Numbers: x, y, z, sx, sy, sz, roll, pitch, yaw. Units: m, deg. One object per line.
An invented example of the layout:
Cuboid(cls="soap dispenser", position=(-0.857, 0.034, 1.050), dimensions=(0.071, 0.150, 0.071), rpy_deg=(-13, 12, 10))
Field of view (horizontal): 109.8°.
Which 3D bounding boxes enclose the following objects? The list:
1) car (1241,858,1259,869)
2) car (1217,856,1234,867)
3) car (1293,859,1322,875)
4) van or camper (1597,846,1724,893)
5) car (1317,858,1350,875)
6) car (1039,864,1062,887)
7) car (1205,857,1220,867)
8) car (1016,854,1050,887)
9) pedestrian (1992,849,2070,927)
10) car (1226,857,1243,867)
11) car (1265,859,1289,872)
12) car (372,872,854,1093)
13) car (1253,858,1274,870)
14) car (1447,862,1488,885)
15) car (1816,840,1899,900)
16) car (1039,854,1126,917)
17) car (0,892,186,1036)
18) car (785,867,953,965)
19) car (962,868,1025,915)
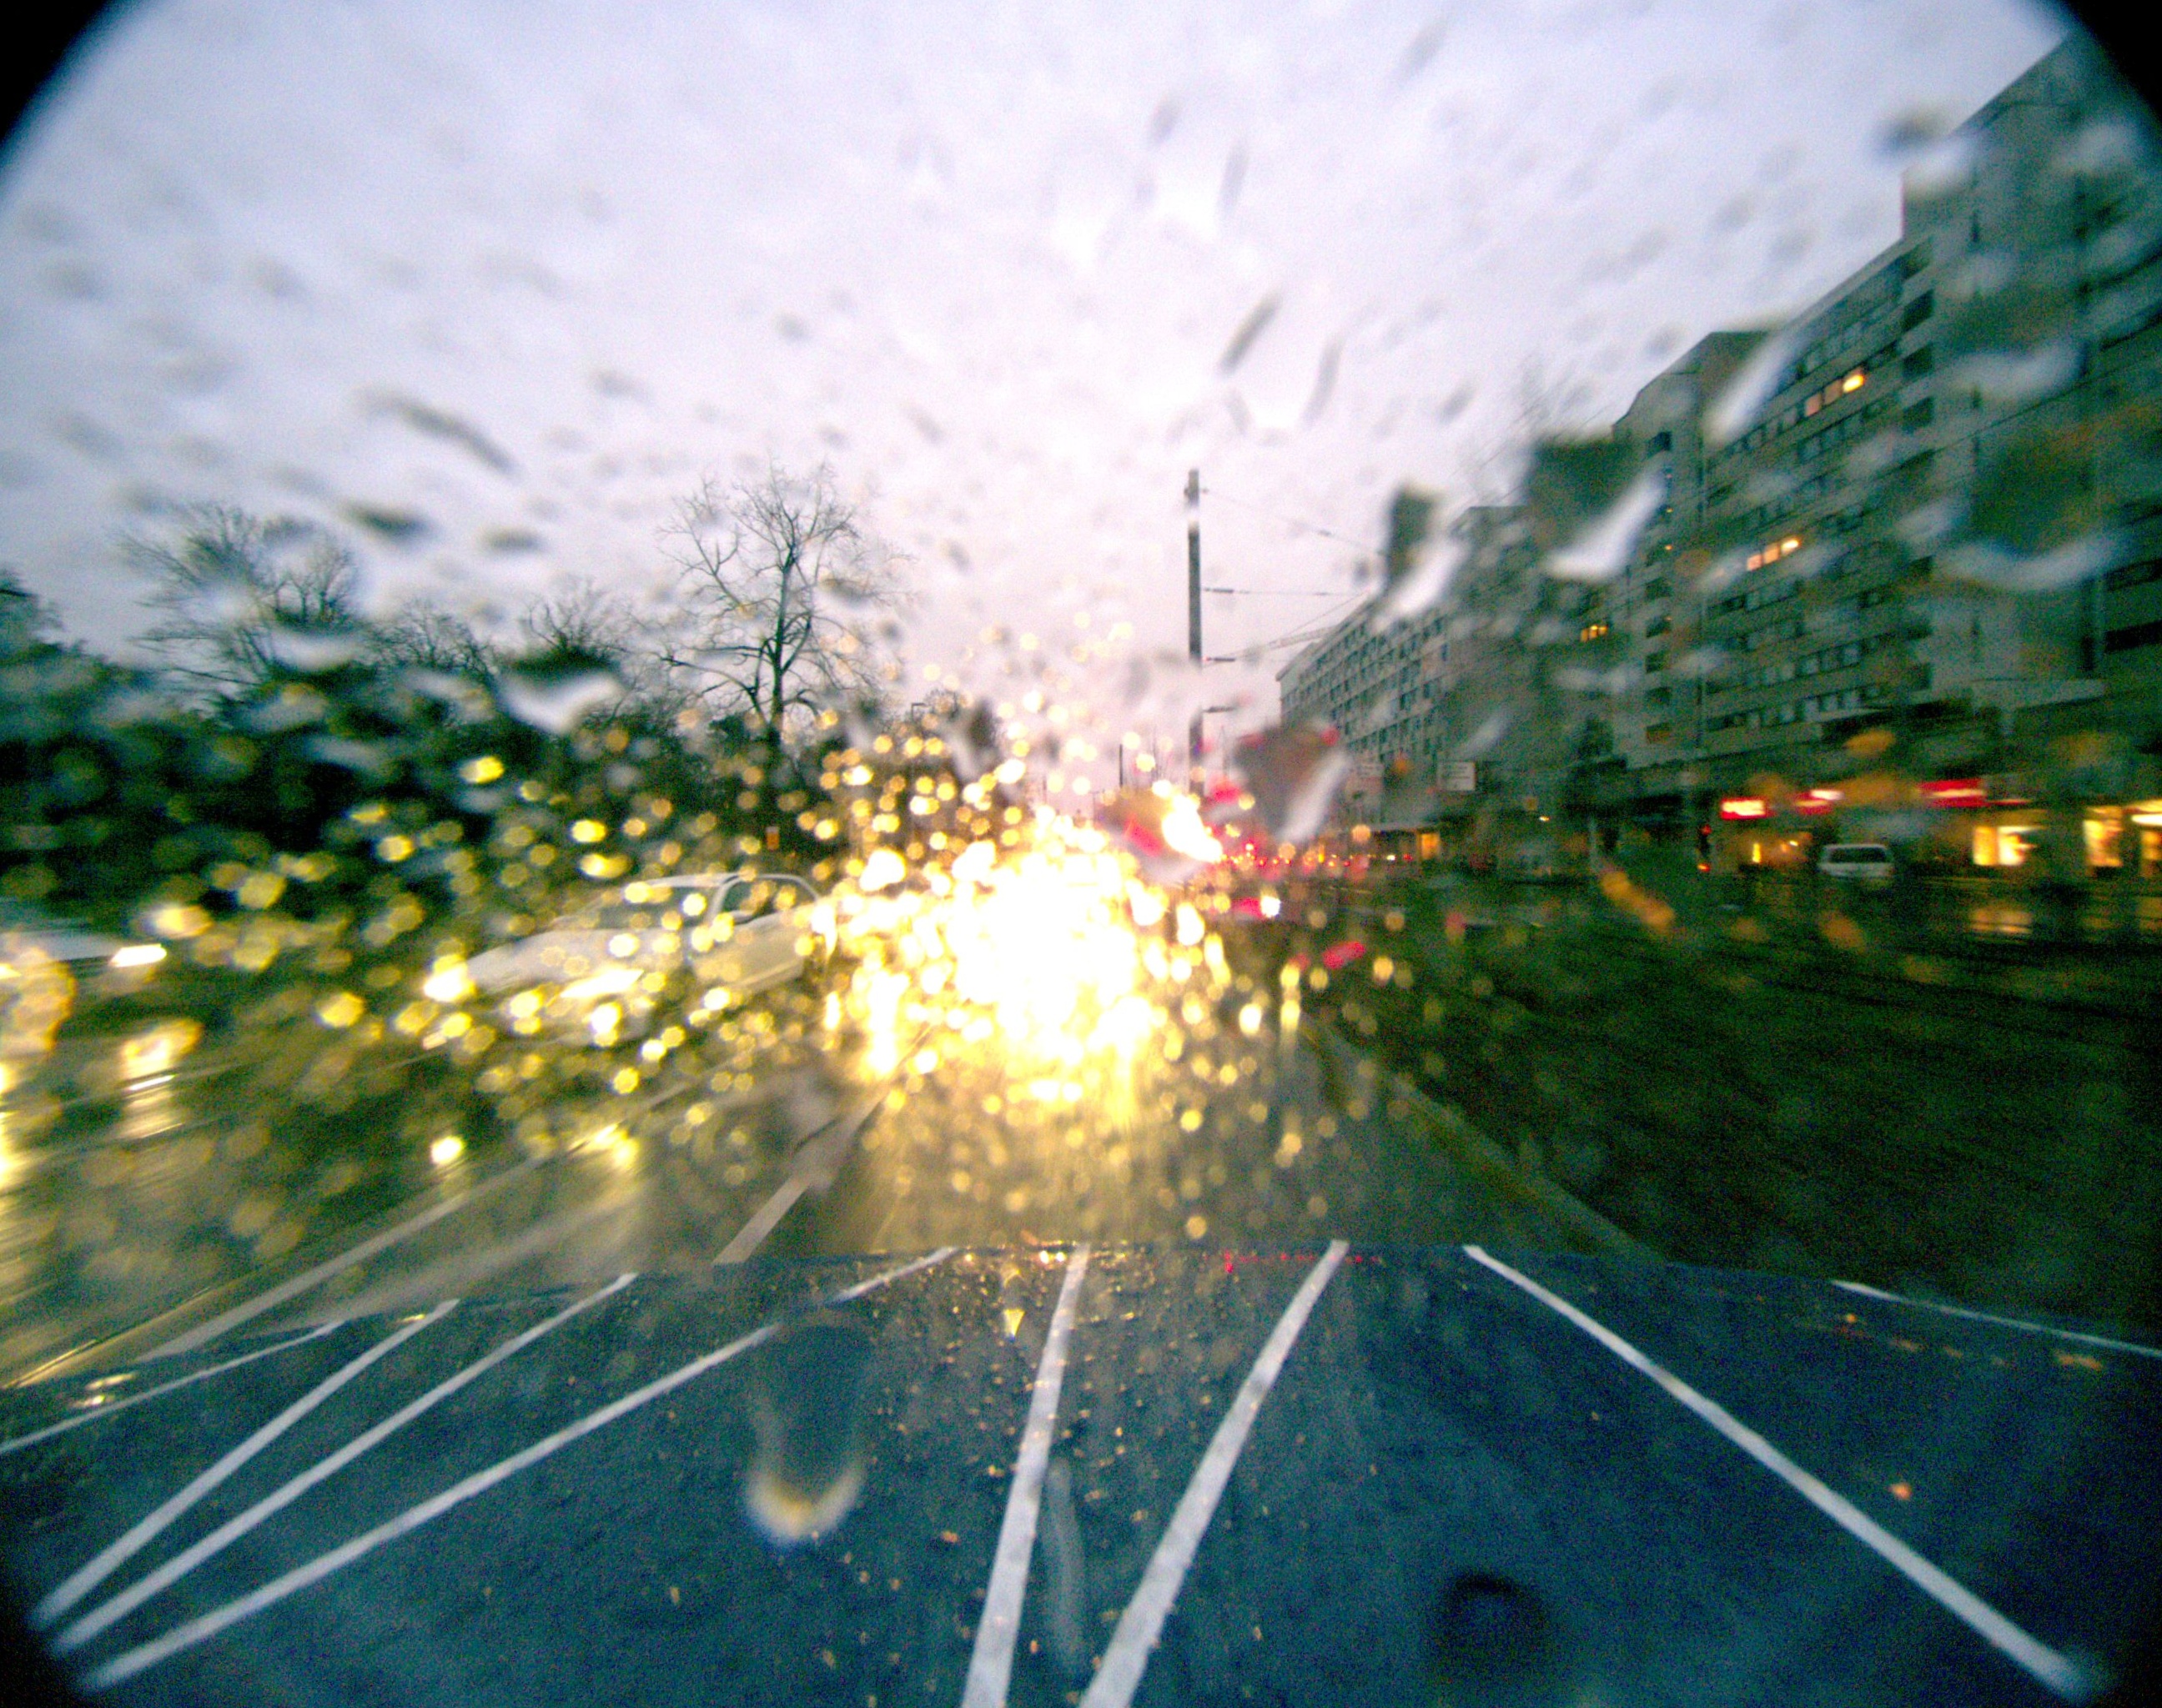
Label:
Cuboid(cls="car", position=(23.553, 1.322, 105.851), dimensions=(1.596, 1.440, 3.872), rpy_deg=(-1, 0, -1))
Cuboid(cls="car", position=(20.765, 1.058, 109.438), dimensions=(1.596, 1.440, 3.872), rpy_deg=(-1, 0, -1))
Cuboid(cls="car", position=(23.733, 1.339, 79.742), dimensions=(1.754, 1.503, 3.890), rpy_deg=(-1, 0, -1))
Cuboid(cls="van or camper", position=(28.528, 0.723, 37.719), dimensions=(1.998, 2.085, 5.654), rpy_deg=(-1, 0, 0))
Cuboid(cls="car", position=(23.424, 1.129, 70.618), dimensions=(1.677, 1.440, 3.766), rpy_deg=(-1, 0, -1))
Cuboid(cls="car", position=(-2.363, 1.651, 59.820), dimensions=(1.679, 1.670, 3.864), rpy_deg=(-1, 0, 0))
Cuboid(cls="car", position=(20.222, 1.194, 117.248), dimensions=(1.596, 1.440, 3.872), rpy_deg=(-1, 0, -1))
Cuboid(cls="car", position=(-2.657, 0.869, 42.763), dimensions=(1.679, 1.739, 3.864), rpy_deg=(-1, 0, 0))
Cuboid(cls="pedestrian", position=(18.432, 0.642, 14.753), dimensions=(0.792, 1.481, 0.630), rpy_deg=(-1, 1, -7))
Cuboid(cls="car", position=(22.791, 1.212, 112.793), dimensions=(1.596, 1.440, 3.872), rpy_deg=(-1, 0, -1))
Cuboid(cls="car", position=(23.320, 1.387, 90.349), dimensions=(1.754, 1.440, 3.872), rpy_deg=(-1, 0, -1))
Cuboid(cls="car", position=(-4.289, 1.036, 8.208), dimensions=(1.791, 1.493, 4.968), rpy_deg=(-2, 0, 4))
Cuboid(cls="car", position=(23.505, 1.312, 97.858), dimensions=(1.754, 1.440, 3.872), rpy_deg=(-1, 0, -1))
Cuboid(cls="car", position=(29.532, 1.452, 58.014), dimensions=(3.785, 1.608, 1.676), rpy_deg=(-1, 1, -44))
Cuboid(cls="car", position=(29.563, 0.546, 29.051), dimensions=(1.994, 2.002, 4.581), rpy_deg=(-2, 1, 43))
Cuboid(cls="car", position=(0.044, 0.801, 21.103), dimensions=(2.160, 1.490, 4.007), rpy_deg=(-1, 1, 0))
Cuboid(cls="car", position=(-13.853, 1.270, 9.243), dimensions=(4.510, 1.480, 1.883), rpy_deg=(-1, 0, 12))
Cuboid(cls="car", position=(-3.819, 1.061, 14.481), dimensions=(1.777, 1.453, 4.041), rpy_deg=(-1, 1, 4))
Cuboid(cls="car", position=(-3.215, 1.364, 28.601), dimensions=(1.881, 1.490, 4.077), rpy_deg=(-1, 1, 0))
